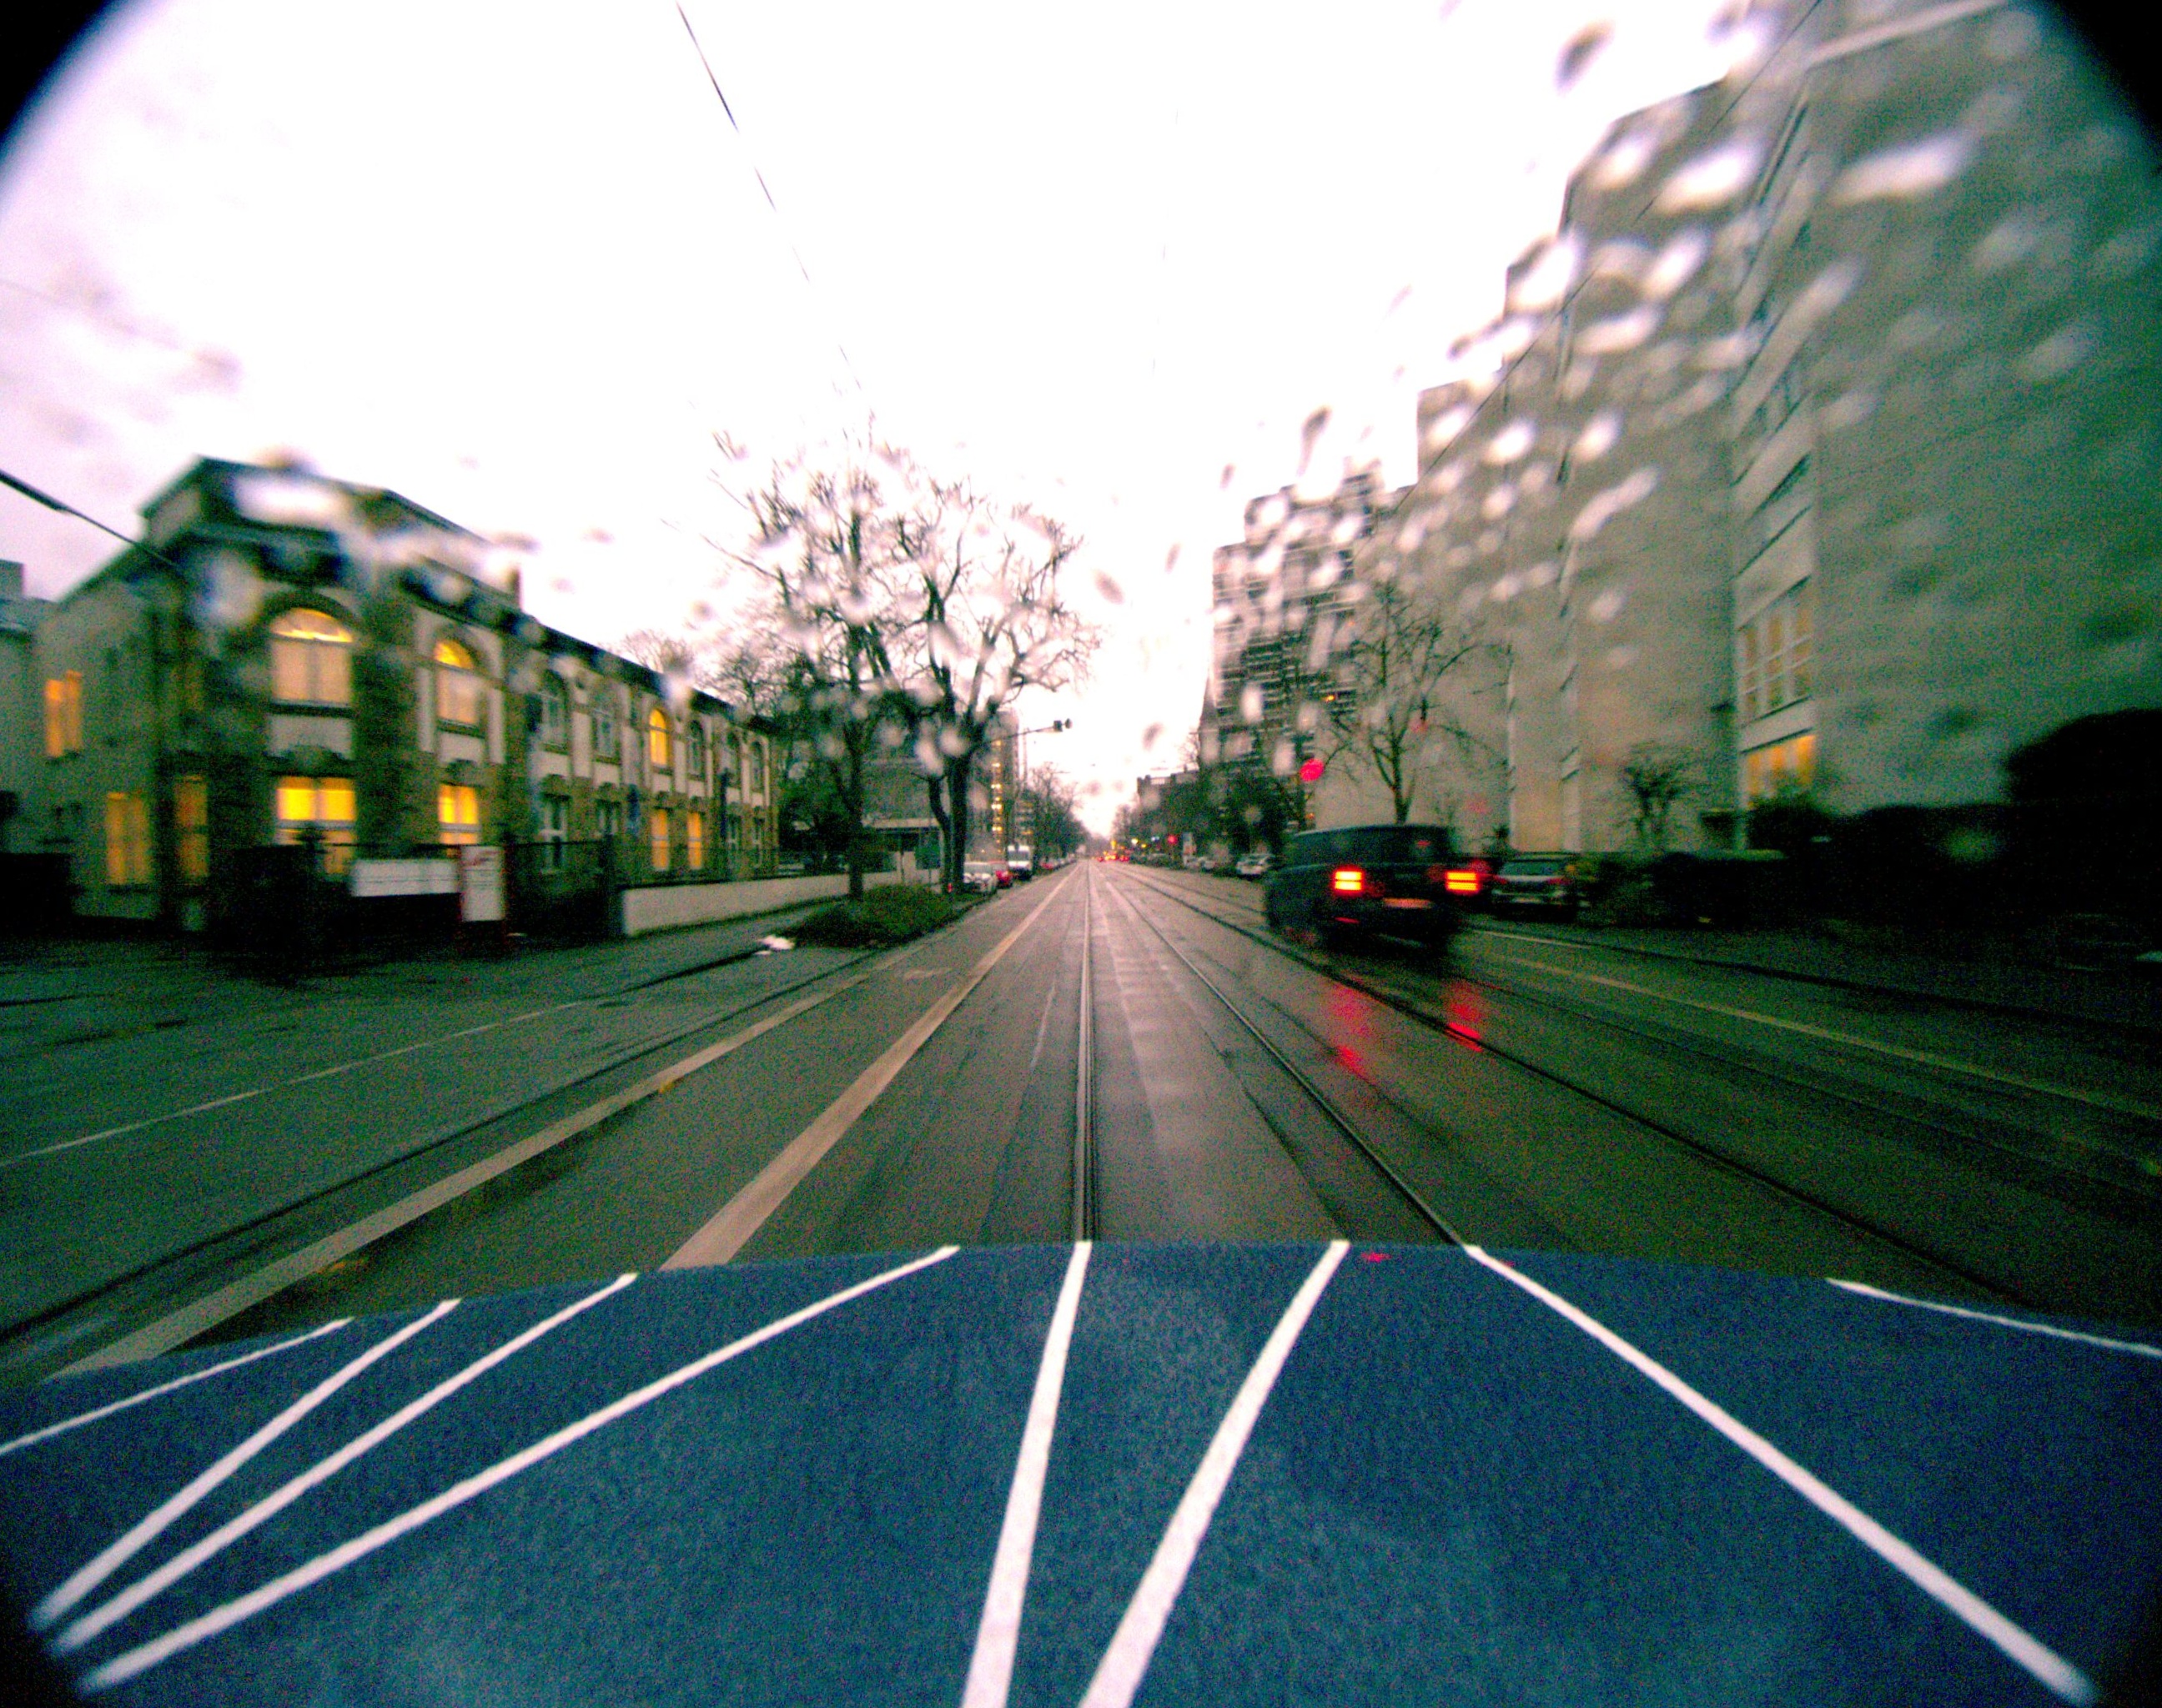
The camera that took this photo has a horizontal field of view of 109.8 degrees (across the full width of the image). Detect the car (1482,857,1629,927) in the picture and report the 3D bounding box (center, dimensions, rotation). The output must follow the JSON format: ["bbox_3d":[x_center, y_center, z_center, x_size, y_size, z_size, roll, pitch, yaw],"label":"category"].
[{"bbox_3d":[11.036,0.800,17.581,4.008,1.419,1.843,0,0,-42],"label":"car"}]

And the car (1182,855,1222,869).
[{"bbox_3d":[12.278,0.763,77.212,4.008,1.391,1.851,0,0,-41],"label":"car"}]

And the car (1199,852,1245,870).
[{"bbox_3d":[11.872,0.580,63.900,1.788,1.437,4.009,-1,-1,45],"label":"car"}]

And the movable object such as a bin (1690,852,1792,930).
[{"bbox_3d":[12.850,0.697,14.810,1.093,1.442,1.110,-1,0,-21],"label":"movable object such as a bin"}]

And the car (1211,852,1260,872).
[{"bbox_3d":[11.766,0.615,57.714,3.862,1.484,1.691,0,0,-43],"label":"car"}]

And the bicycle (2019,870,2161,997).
[{"bbox_3d":[10.772,0.779,7.627,0.694,1.205,1.596,-1,0,-4],"label":"bicycle"}]

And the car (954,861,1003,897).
[{"bbox_3d":[-4.466,1.056,33.566,1.696,1.511,3.637,-1,0,0],"label":"car"}]

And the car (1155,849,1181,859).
[{"bbox_3d":[13.509,0.016,118.020,3.995,1.477,1.673,-1,0,6],"label":"car"}]

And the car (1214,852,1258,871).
[{"bbox_3d":[12.476,0.606,61.031,3.458,1.484,1.725,0,0,-41],"label":"car"}]

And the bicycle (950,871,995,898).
[{"bbox_3d":[-4.432,1.233,31.046,1.717,1.064,0.663,-1,0,1],"label":"bicycle"}]

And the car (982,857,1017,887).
[{"bbox_3d":[-4.507,0.974,42.340,1.647,1.514,3.572,-2,0,-2],"label":"car"}]

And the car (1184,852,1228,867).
[{"bbox_3d":[11.581,0.532,70.224,4.008,1.370,1.851,0,0,-41],"label":"car"}]

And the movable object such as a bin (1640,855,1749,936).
[{"bbox_3d":[11.521,0.752,14.296,1.268,1.442,1.110,-1,0,-21],"label":"movable object such as a bin"}]

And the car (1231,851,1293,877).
[{"bbox_3d":[11.302,0.586,47.214,4.008,1.554,1.732,0,0,-41],"label":"car"}]

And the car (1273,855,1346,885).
[{"bbox_3d":[11.339,0.754,37.534,1.745,1.344,4.357,1,1,43],"label":"car"}]

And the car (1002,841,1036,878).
[{"bbox_3d":[-4.332,0.398,54.130,2.130,2.472,5.438,-1,0,-2],"label":"car"}]

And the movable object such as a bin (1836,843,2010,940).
[{"bbox_3d":[13.139,0.564,11.933,1.265,1.442,1.326,-1,0,8],"label":"movable object such as a bin"}]

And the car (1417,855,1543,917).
[{"bbox_3d":[10.790,0.783,20.434,4.008,1.462,1.826,-1,0,-44],"label":"car"}]

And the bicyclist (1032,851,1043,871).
[{"bbox_3d":[-3.568,0.587,62.709,0.771,1.679,0.706,-1,0,-15],"label":"bicyclist"}]

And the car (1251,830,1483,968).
[{"bbox_3d":[4.584,0.655,13.208,2.051,1.911,5.099,-1,0,-1],"label":"car"}]

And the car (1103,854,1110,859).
[{"bbox_3d":[7.045,0.661,212.359,1.752,1.535,4.295,-1,0,-1],"label":"car"}]

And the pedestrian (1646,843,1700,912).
[{"bbox_3d":[14.810,0.572,19.022,0.598,1.667,0.973,-1,0,1],"label":"pedestrian"}]

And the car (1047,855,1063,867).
[{"bbox_3d":[-3.258,0.895,96.441,1.753,1.575,3.737,-1,0,2],"label":"car"}]

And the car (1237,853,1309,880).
[{"bbox_3d":[11.116,0.680,43.901,4.007,1.435,1.732,0,1,-32],"label":"car"}]

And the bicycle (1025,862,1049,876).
[{"bbox_3d":[-3.621,1.244,62.690,1.895,1.126,0.730,0,0,-15],"label":"bicycle"}]

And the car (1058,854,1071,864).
[{"bbox_3d":[-2.731,0.844,127.599,1.866,1.584,4.001,-1,0,3],"label":"car"}]

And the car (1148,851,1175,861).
[{"bbox_3d":[12.222,0.352,114.681,3.995,1.477,1.673,-1,0,6],"label":"car"}]

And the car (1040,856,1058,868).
[{"bbox_3d":[-3.702,0.939,87.746,1.753,1.379,3.737,-1,0,2],"label":"car"}]
